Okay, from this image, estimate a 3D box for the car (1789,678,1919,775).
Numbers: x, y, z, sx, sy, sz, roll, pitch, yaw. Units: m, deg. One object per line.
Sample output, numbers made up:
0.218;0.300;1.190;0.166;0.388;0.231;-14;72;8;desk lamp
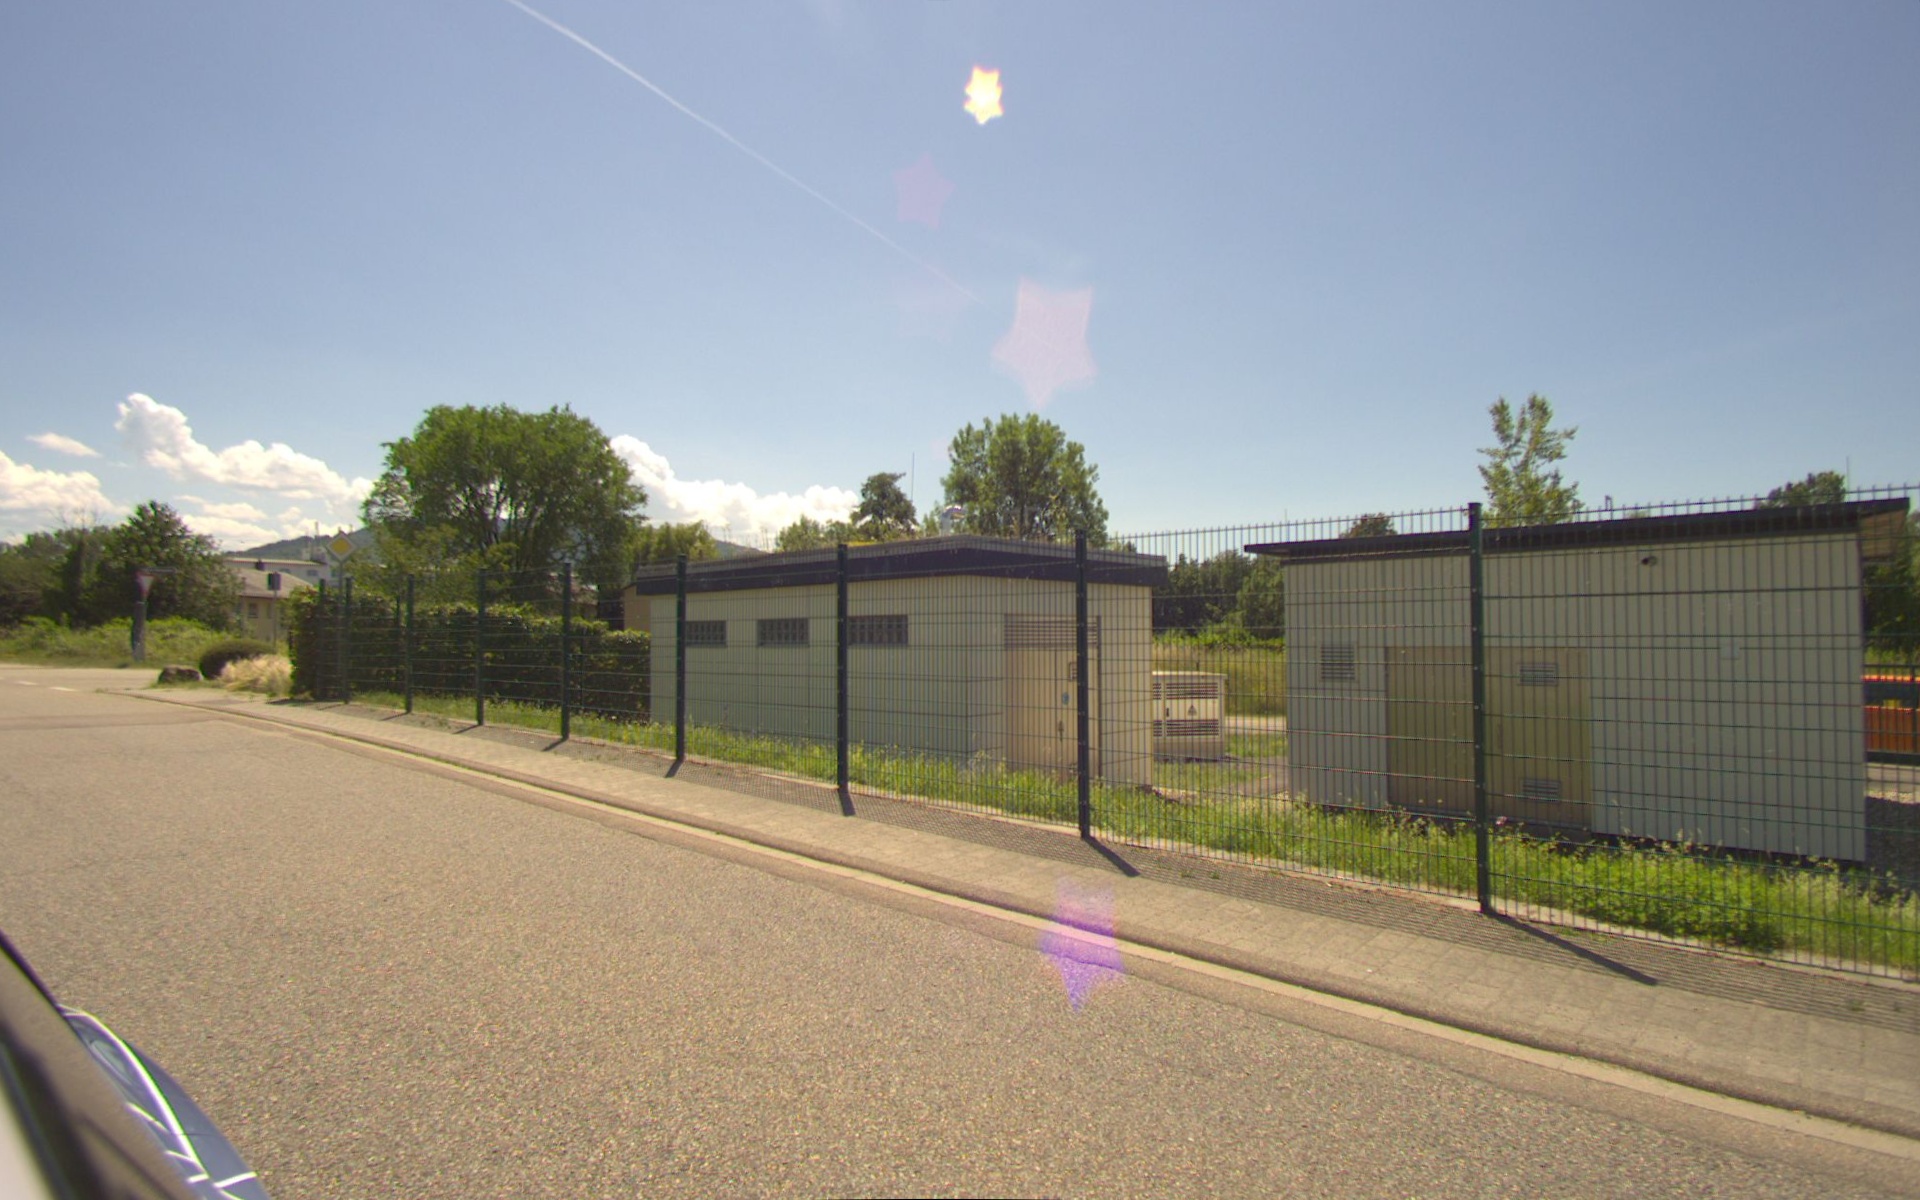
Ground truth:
21.539;2.787;22.122;1.966;2.029;4.877;4;-5;-29;car
